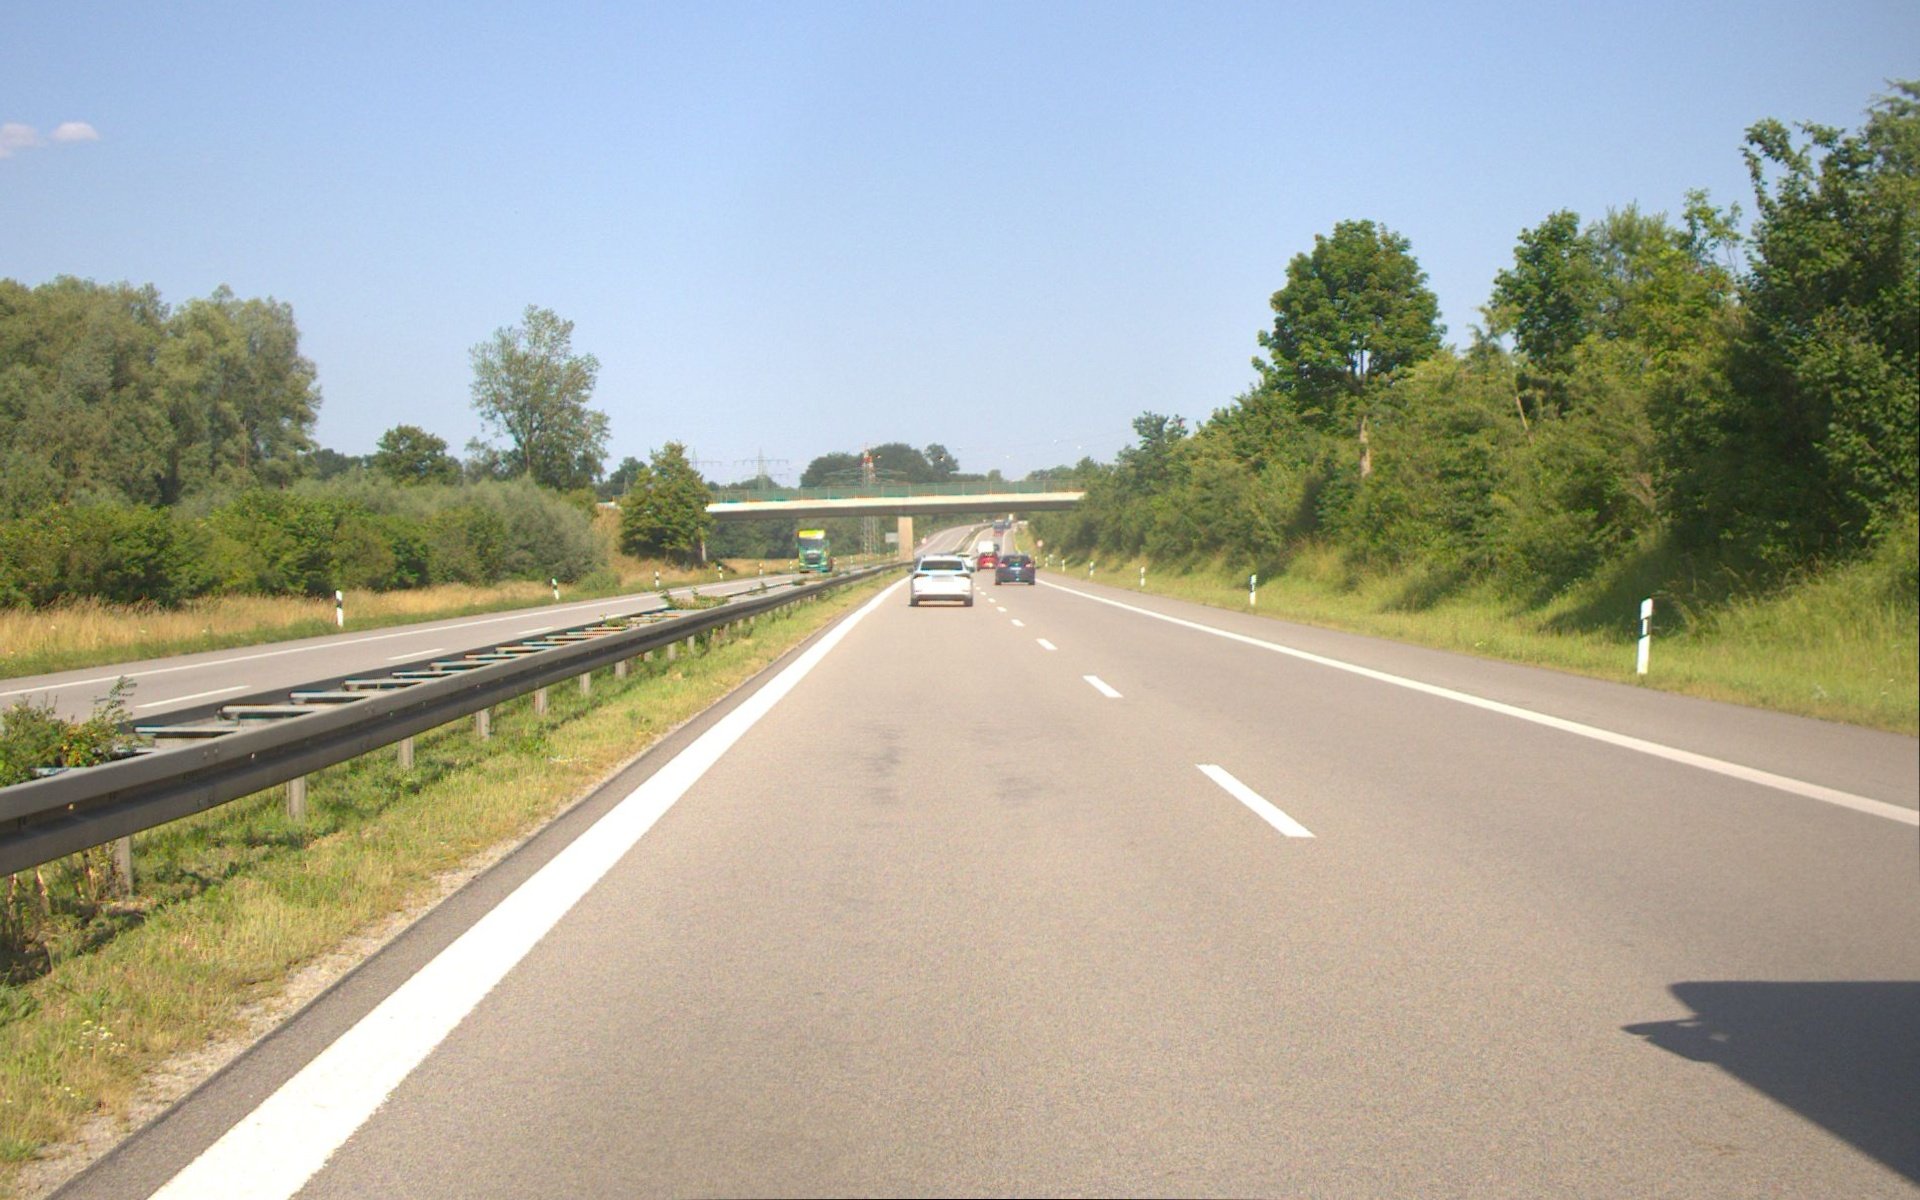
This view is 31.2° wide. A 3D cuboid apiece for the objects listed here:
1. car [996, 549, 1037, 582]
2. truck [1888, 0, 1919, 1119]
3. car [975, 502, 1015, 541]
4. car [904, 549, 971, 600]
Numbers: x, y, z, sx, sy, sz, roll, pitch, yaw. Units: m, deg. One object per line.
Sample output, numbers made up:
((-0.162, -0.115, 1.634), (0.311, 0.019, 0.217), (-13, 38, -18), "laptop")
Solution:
((2.662, -1.645, 162.000), (1.843, 1.515, 4.000), (1, 1, 0), "car")
((4.062, -0.722, 5.521), (3.168, 4.100, 6.389), (1, 1, -2), "truck")
((1.857, -4.182, 182.985), (1.993, 2.007, 4.000), (1, 1, -1), "car")
((-0.625, -0.733, 97.787), (1.843, 1.411, 4.000), (1, 1, 0), "car")
